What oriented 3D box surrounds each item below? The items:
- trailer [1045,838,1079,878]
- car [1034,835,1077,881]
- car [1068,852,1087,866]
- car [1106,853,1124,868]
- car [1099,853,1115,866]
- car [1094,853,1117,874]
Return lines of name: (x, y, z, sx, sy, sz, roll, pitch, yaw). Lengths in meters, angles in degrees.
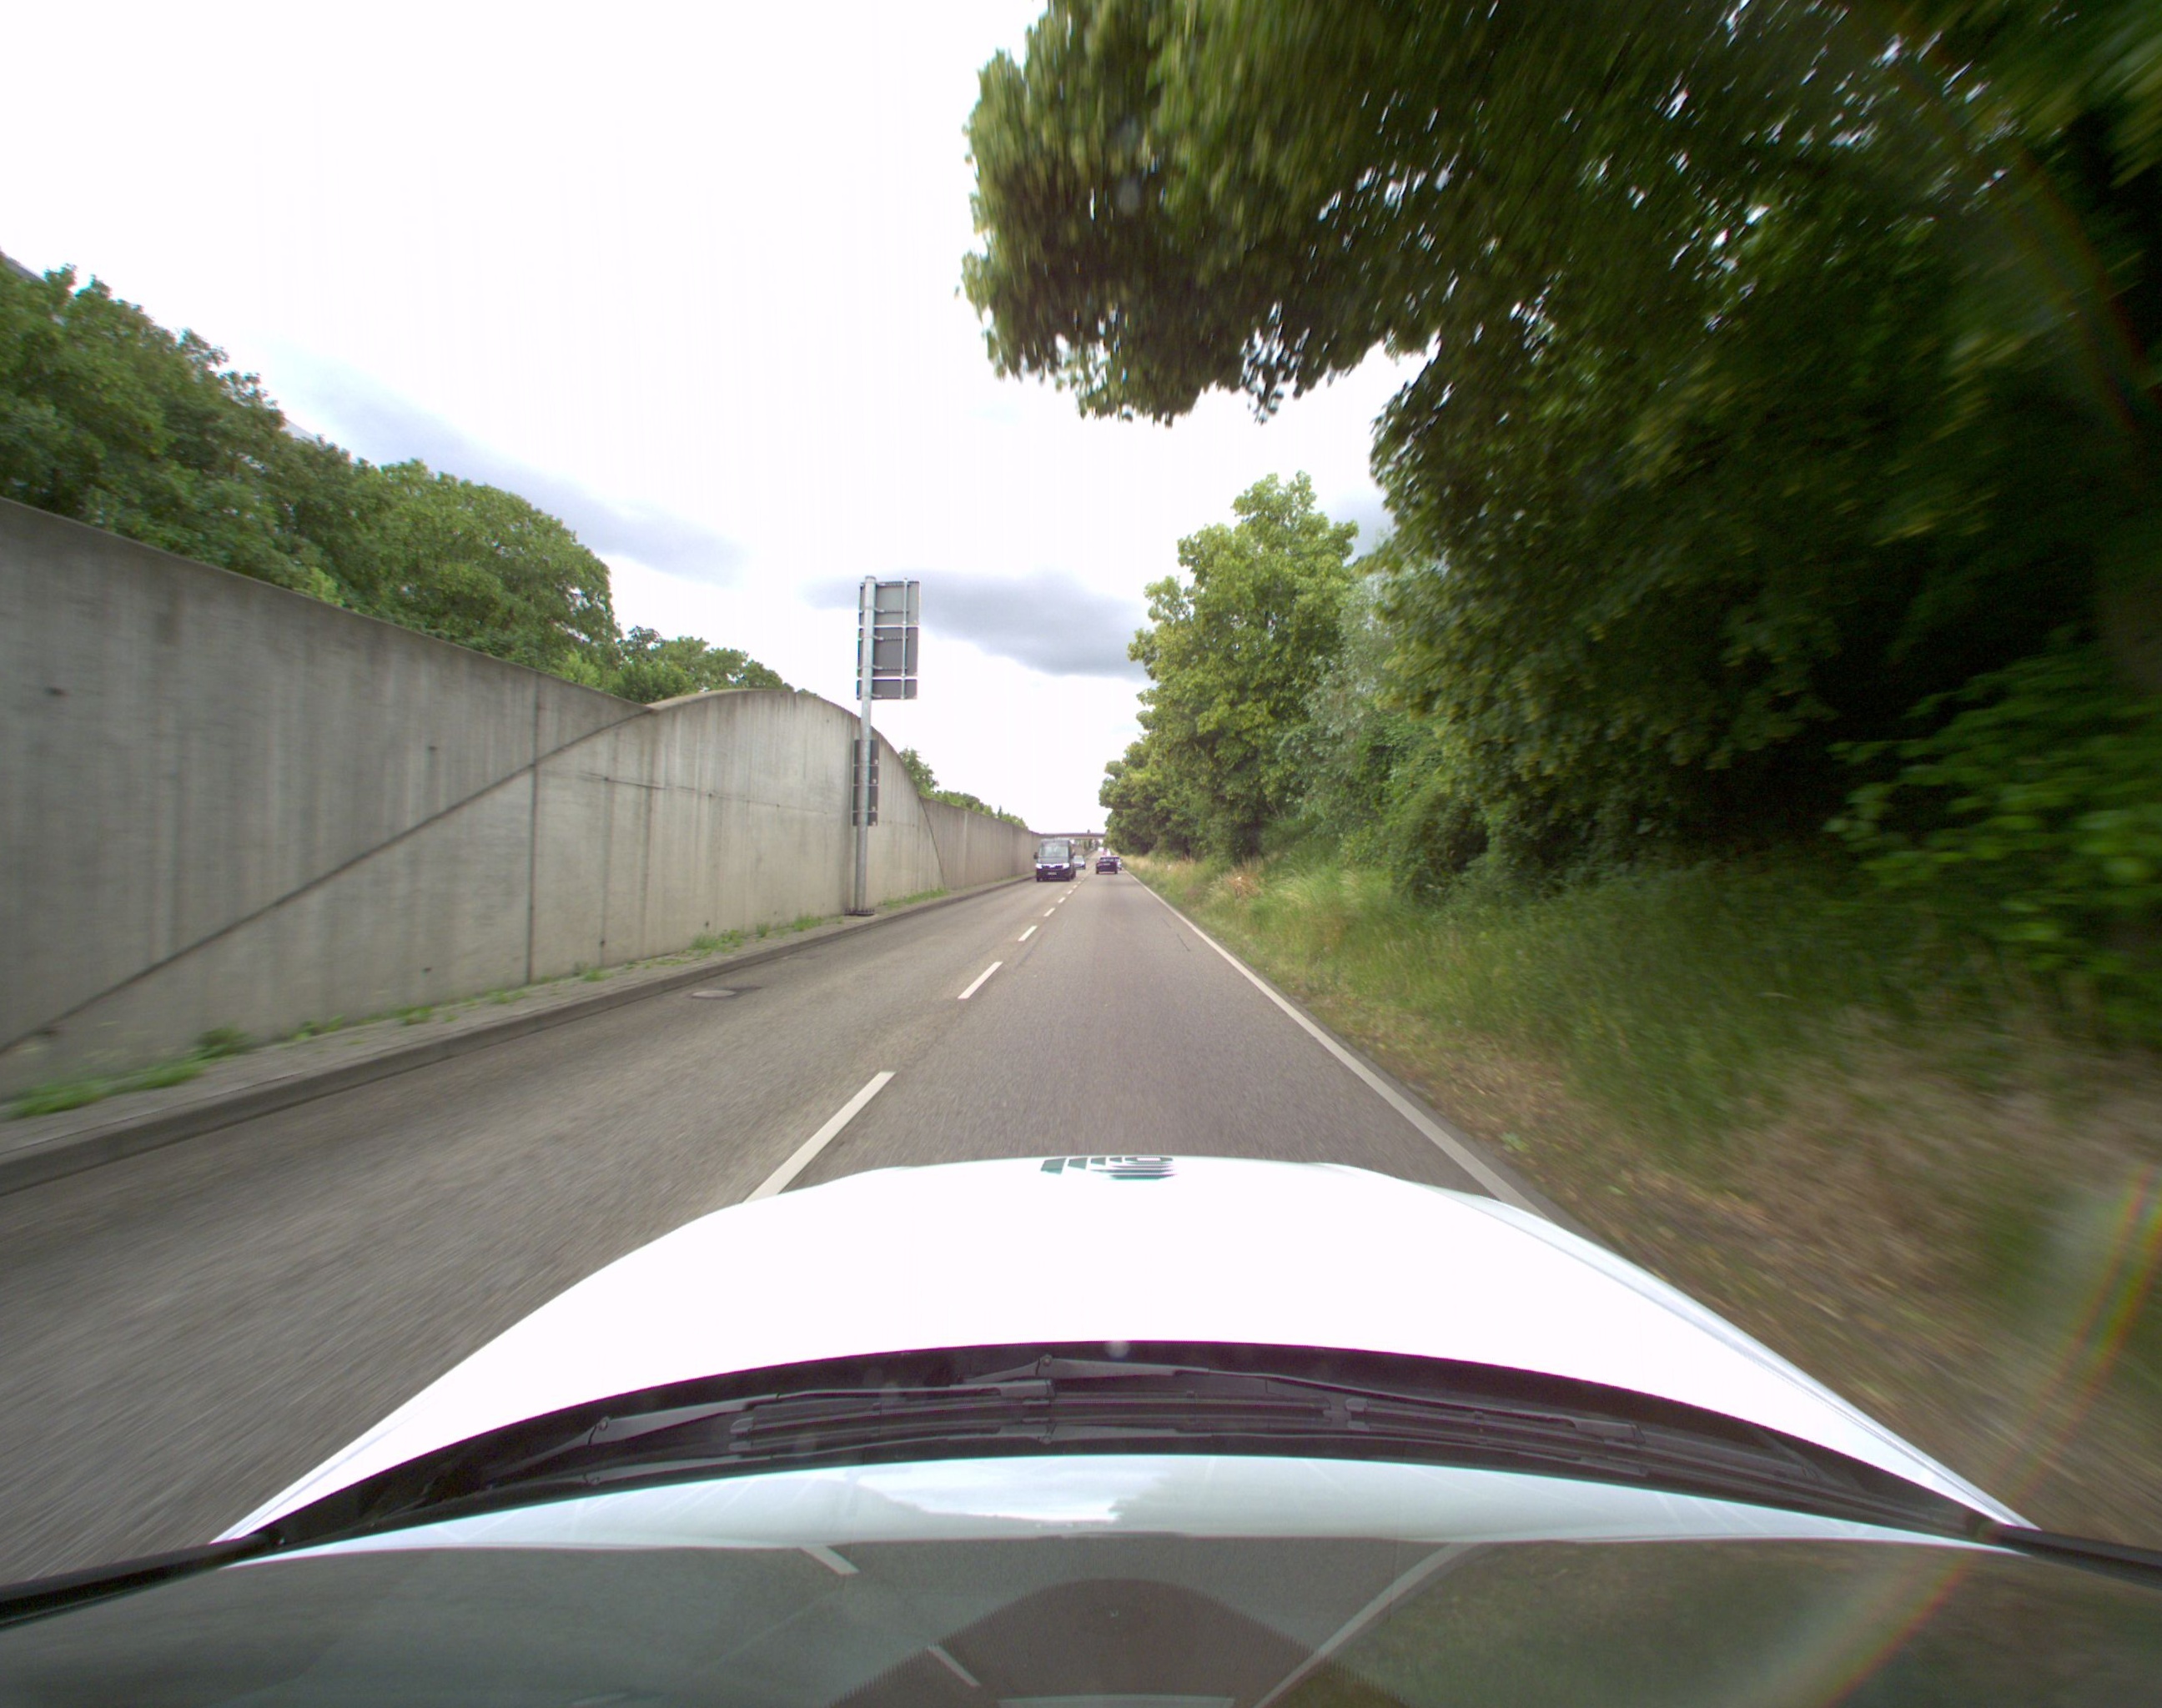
trailer: (-1.280, 0.246, 56.550, 2.102, 2.630, 4.374, -1, 0, 2)
car: (-1.480, 0.234, 50.609, 2.101, 2.630, 7.420, -1, 0, 2)
car: (-0.325, 0.534, 90.965, 1.885, 1.483, 4.825, -1, 0, 2)
car: (3.483, 0.657, 83.135, 1.746, 1.523, 4.040, 0, -1, 4)
car: (3.325, 0.668, 104.197, 1.860, 1.490, 4.256, 3, 0, 0)
car: (2.024, 0.753, 66.704, 1.747, 1.523, 4.039, -2, 1, 2)
